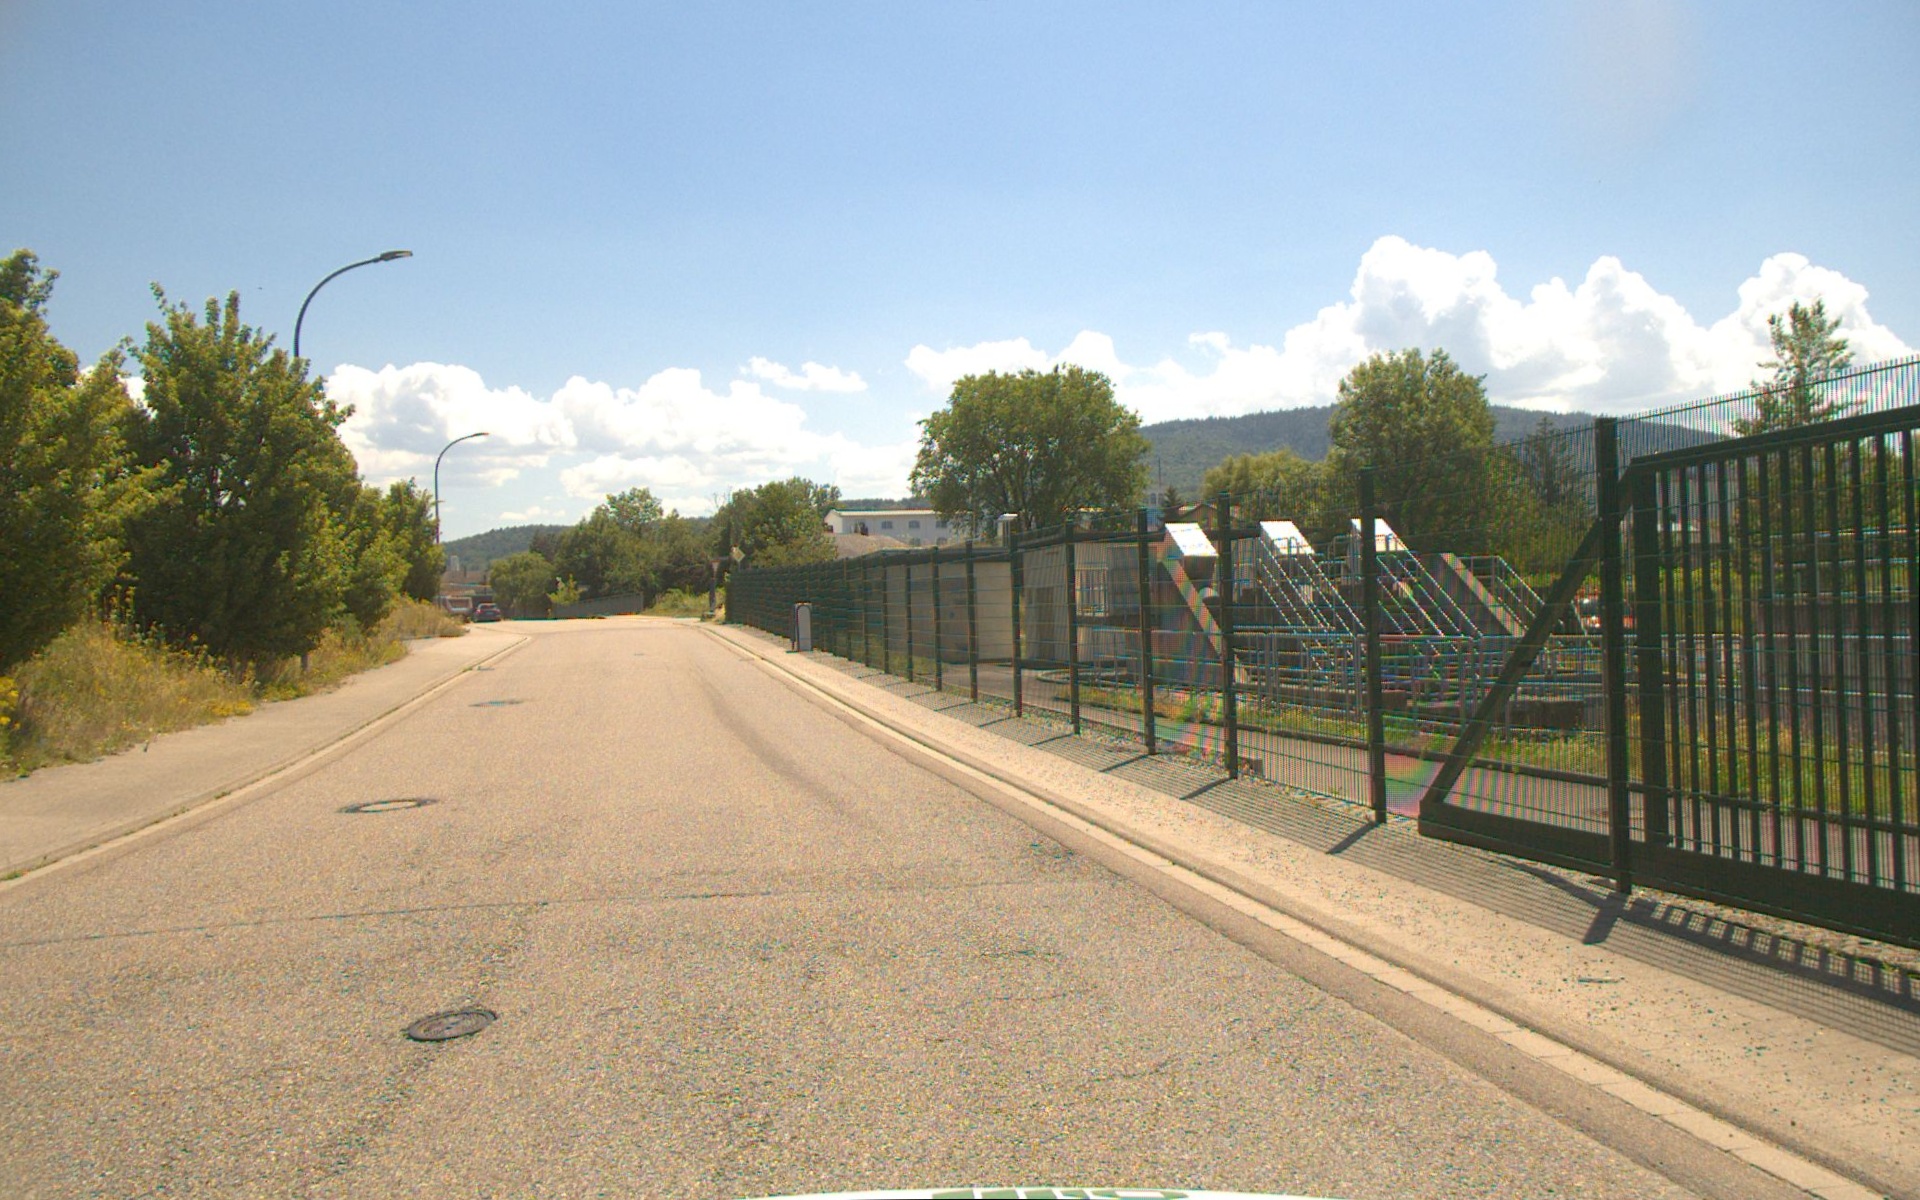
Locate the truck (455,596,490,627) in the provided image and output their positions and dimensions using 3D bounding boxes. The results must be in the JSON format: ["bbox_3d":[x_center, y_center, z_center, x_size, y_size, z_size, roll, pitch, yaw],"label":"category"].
[{"bbox_3d":[-46.307,1.102,156.969,2.646,2.821,6.049,-1,1,-22],"label":"truck"}]

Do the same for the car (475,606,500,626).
[{"bbox_3d":[-36.230,1.213,126.811,1.748,1.473,3.434,-1,0,-18],"label":"car"}]
